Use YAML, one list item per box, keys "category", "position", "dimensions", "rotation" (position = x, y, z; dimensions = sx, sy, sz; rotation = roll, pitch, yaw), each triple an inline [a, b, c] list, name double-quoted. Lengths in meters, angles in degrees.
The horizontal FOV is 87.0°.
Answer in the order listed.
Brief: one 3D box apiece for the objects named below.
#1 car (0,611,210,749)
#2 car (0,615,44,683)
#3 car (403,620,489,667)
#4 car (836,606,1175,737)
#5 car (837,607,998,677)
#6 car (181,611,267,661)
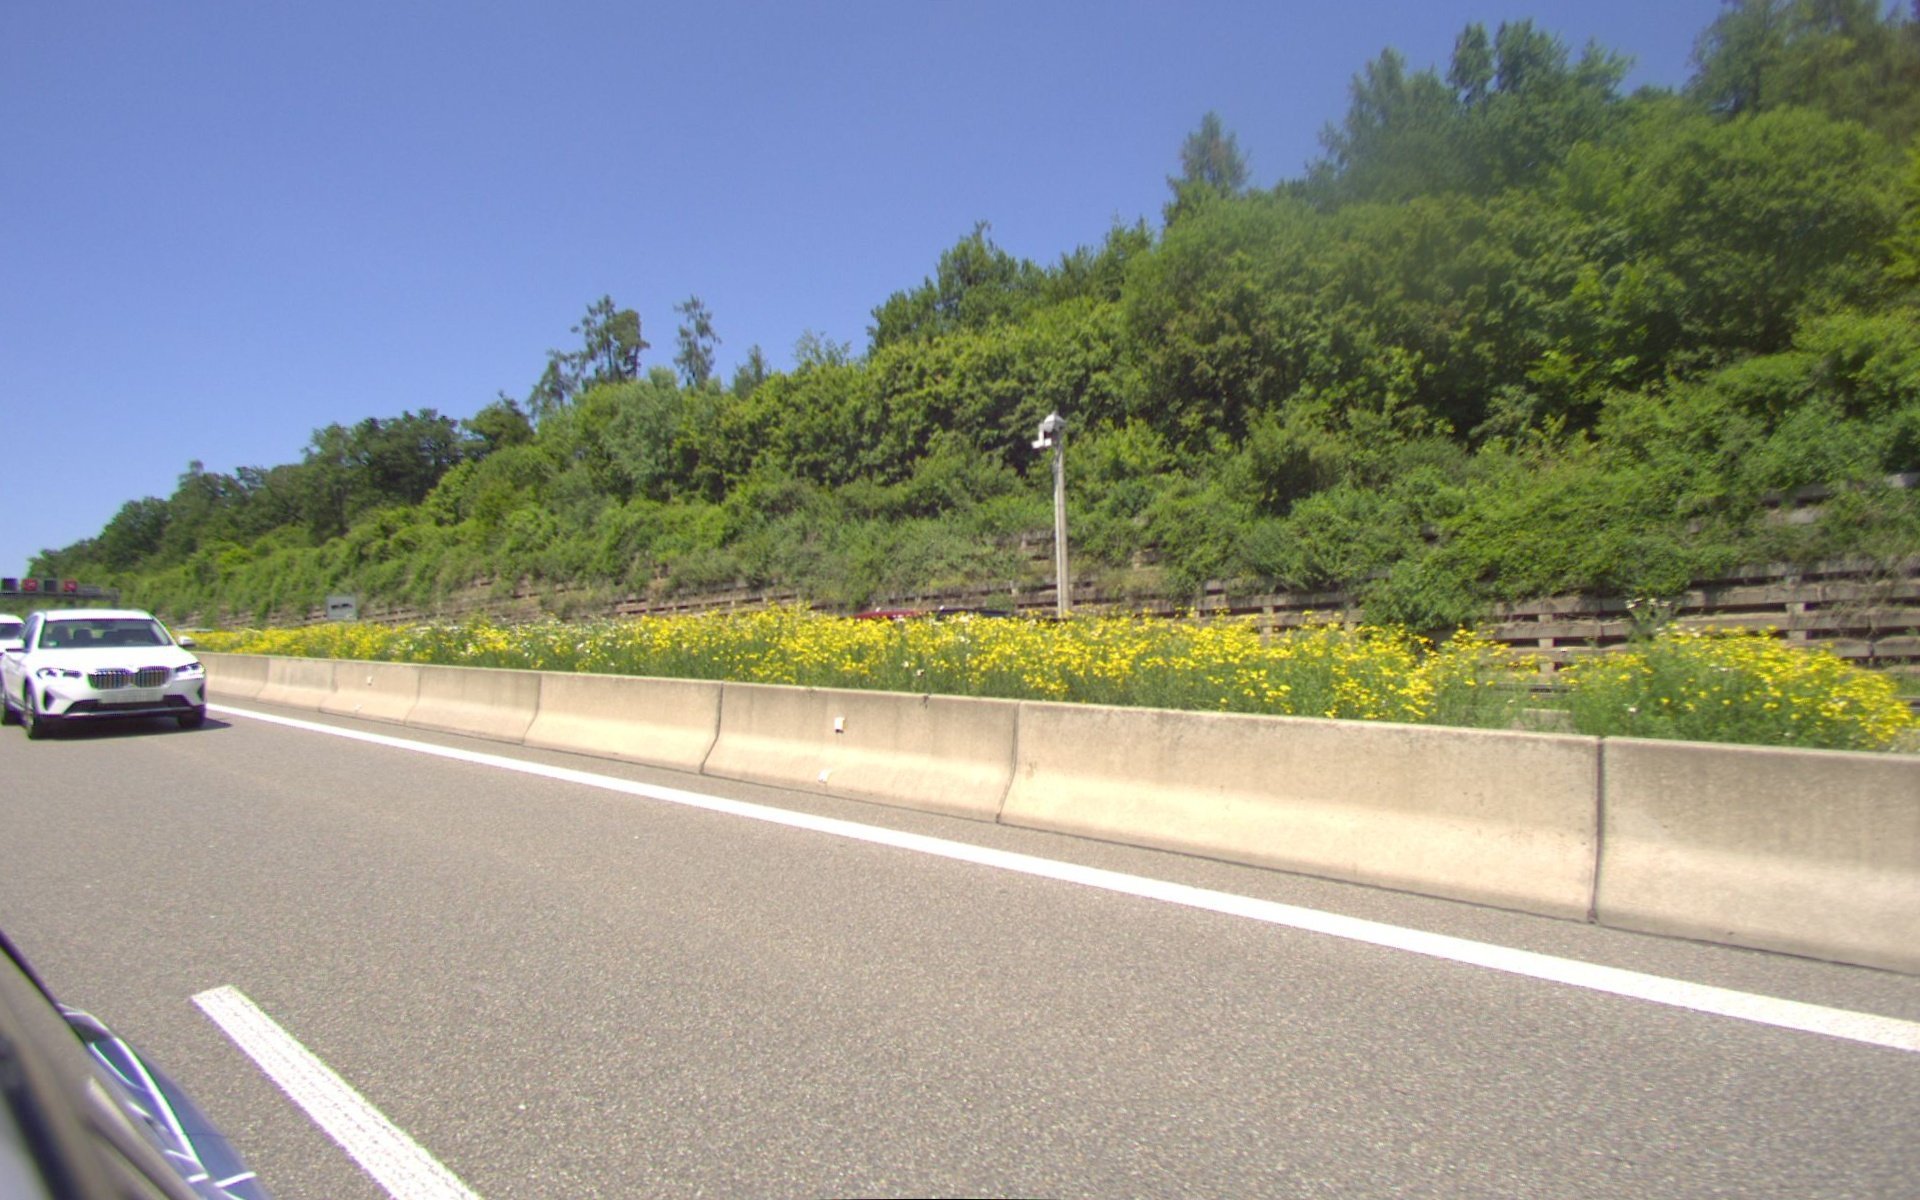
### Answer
- category: "car"
  position: [-12.377, 1.022, 14.412]
  dimensions: [4.365, 1.656, 1.826]
  rotation: [-2, -1, 41]
- category: "car"
  position: [-27.541, 1.421, 28.627]
  dimensions: [4.500, 1.788, 1.972]
  rotation: [-3, -1, 42]
- category: "car"
  position: [-21.970, 1.792, 43.197]
  dimensions: [4.500, 1.821, 1.791]
  rotation: [-1, 0, 42]
- category: "car"
  position: [0.492, 0.920, 14.027]
  dimensions: [4.582, 1.533, 1.770]
  rotation: [-2, -3, 40]
- category: "car"
  position: [-1.303, 1.153, 29.472]
  dimensions: [4.653, 1.821, 1.972]
  rotation: [-1, 0, 42]
- category: "car"
  position: [-29.250, 1.459, 40.192]
  dimensions: [4.500, 1.821, 1.871]
  rotation: [-3, -1, 42]
